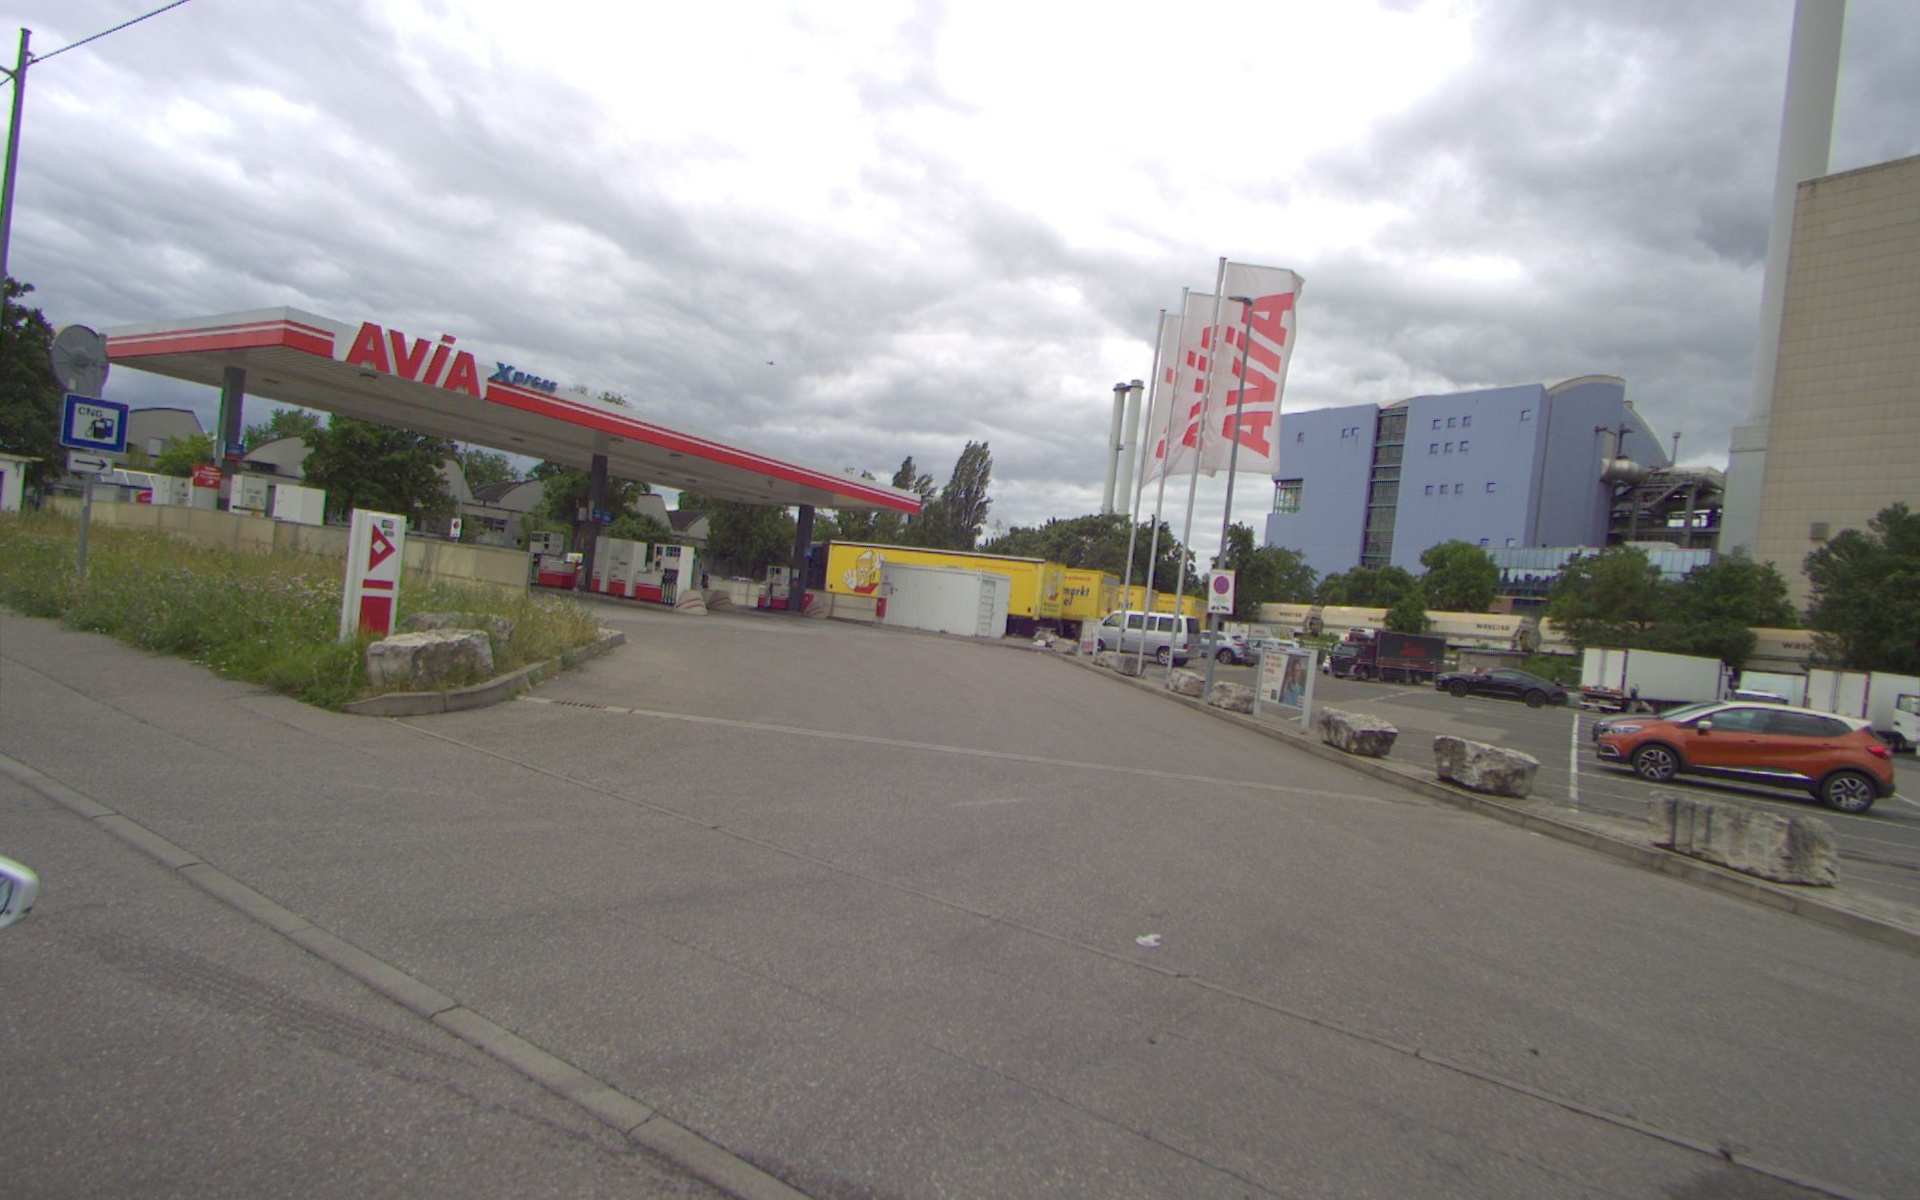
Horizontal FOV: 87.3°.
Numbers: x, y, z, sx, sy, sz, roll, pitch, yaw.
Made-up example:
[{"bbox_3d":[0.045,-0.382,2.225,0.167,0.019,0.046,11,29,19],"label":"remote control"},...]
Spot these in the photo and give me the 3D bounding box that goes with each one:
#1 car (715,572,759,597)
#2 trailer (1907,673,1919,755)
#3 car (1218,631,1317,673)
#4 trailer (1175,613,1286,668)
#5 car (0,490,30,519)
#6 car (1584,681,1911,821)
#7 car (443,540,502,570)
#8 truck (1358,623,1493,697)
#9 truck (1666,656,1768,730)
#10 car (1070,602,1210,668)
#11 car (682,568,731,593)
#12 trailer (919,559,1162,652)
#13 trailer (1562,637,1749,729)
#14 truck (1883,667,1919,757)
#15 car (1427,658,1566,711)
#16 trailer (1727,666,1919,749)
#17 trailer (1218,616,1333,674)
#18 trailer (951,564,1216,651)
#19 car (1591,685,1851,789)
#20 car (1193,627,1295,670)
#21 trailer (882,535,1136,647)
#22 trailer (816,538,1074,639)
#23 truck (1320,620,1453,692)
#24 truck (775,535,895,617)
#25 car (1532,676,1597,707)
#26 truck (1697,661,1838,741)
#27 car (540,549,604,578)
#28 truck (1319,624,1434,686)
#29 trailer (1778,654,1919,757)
[{"bbox_3d":[-18.636,-1.332,83.951,1.891,1.672,4.355,6,0,-36],"label":"car"},{"bbox_3d":[57.330,6.868,54.627,18.306,4.140,3.612,7,0,-31],"label":"trailer"},{"bbox_3d":[16.543,2.781,54.125,4.611,1.620,1.985,7,0,32],"label":"car"},{"bbox_3d":[28.472,4.310,105.451,12.458,4.355,3.527,7,-1,-34],"label":"trailer"},{"bbox_3d":[-62.749,-6.342,66.306,1.986,1.633,4.388,6,1,-42],"label":"car"},{"bbox_3d":[13.392,2.499,17.495,4.146,1.591,1.766,6,1,32],"label":"car"},{"bbox_3d":[-32.554,-2.997,67.140,3.821,1.549,1.733,6,0,33],"label":"car"},{"bbox_3d":[34.779,4.533,74.880,11.856,4.343,2.848,7,-1,-32],"label":"truck"},{"bbox_3d":[53.966,6.660,71.724,6.589,4.486,3.517,7,-1,-34],"label":"truck"},{"bbox_3d":[7.012,1.372,39.358,4.869,1.936,1.985,7,0,32],"label":"car"},{"bbox_3d":[-20.820,-1.621,82.459,2.082,1.672,4.916,6,0,-36],"label":"car"},{"bbox_3d":[4.831,0.245,64.355,15.463,4.314,3.023,6,1,31],"label":"trailer"},{"bbox_3d":[46.388,5.666,66.613,18.114,4.555,3.527,8,-1,-34],"label":"trailer"},{"bbox_3d":[49.649,5.879,49.841,7.181,4.171,3.680,7,0,-32],"label":"truck"},{"bbox_3d":[21.124,3.311,39.646,4.607,1.386,1.986,7,0,32],"label":"car"},{"bbox_3d":[53.357,6.704,61.596,18.306,3.590,3.612,7,0,-31],"label":"trailer"},{"bbox_3d":[31.338,4.503,99.632,12.458,4.355,3.527,7,-1,-34],"label":"trailer"},{"bbox_3d":[7.778,0.333,67.095,17.771,3.964,2.692,6,1,31],"label":"trailer"},{"bbox_3d":[16.047,2.837,21.542,4.146,1.409,1.765,6,2,32],"label":"car"},{"bbox_3d":[14.726,2.528,52.293,4.611,1.620,1.985,7,0,32],"label":"car"},{"bbox_3d":[2.419,-0.635,56.088,14.064,4.783,3.002,6,1,31],"label":"trailer"},{"bbox_3d":[-1.109,-0.719,53.668,14.064,3.964,3.002,6,1,31],"label":"trailer"},{"bbox_3d":[33.092,4.405,77.739,11.856,4.343,2.848,7,-1,-32],"label":"truck"},{"bbox_3d":[-7.141,-1.389,57.360,5.940,3.964,2.959,6,1,31],"label":"truck"},{"bbox_3d":[40.782,6.159,67.862,4.647,1.620,1.970,7,0,-36],"label":"car"},{"bbox_3d":[45.688,5.730,56.892,7.178,3.601,3.682,7,0,-31],"label":"truck"},{"bbox_3d":[-28.772,-2.705,74.637,4.576,1.666,1.964,6,0,31],"label":"car"},{"bbox_3d":[37.277,4.998,89.724,11.856,4.343,2.848,7,-1,-32],"label":"truck"},{"bbox_3d":[51.771,6.185,55.947,18.095,4.555,3.531,7,-1,-31],"label":"trailer"}]
